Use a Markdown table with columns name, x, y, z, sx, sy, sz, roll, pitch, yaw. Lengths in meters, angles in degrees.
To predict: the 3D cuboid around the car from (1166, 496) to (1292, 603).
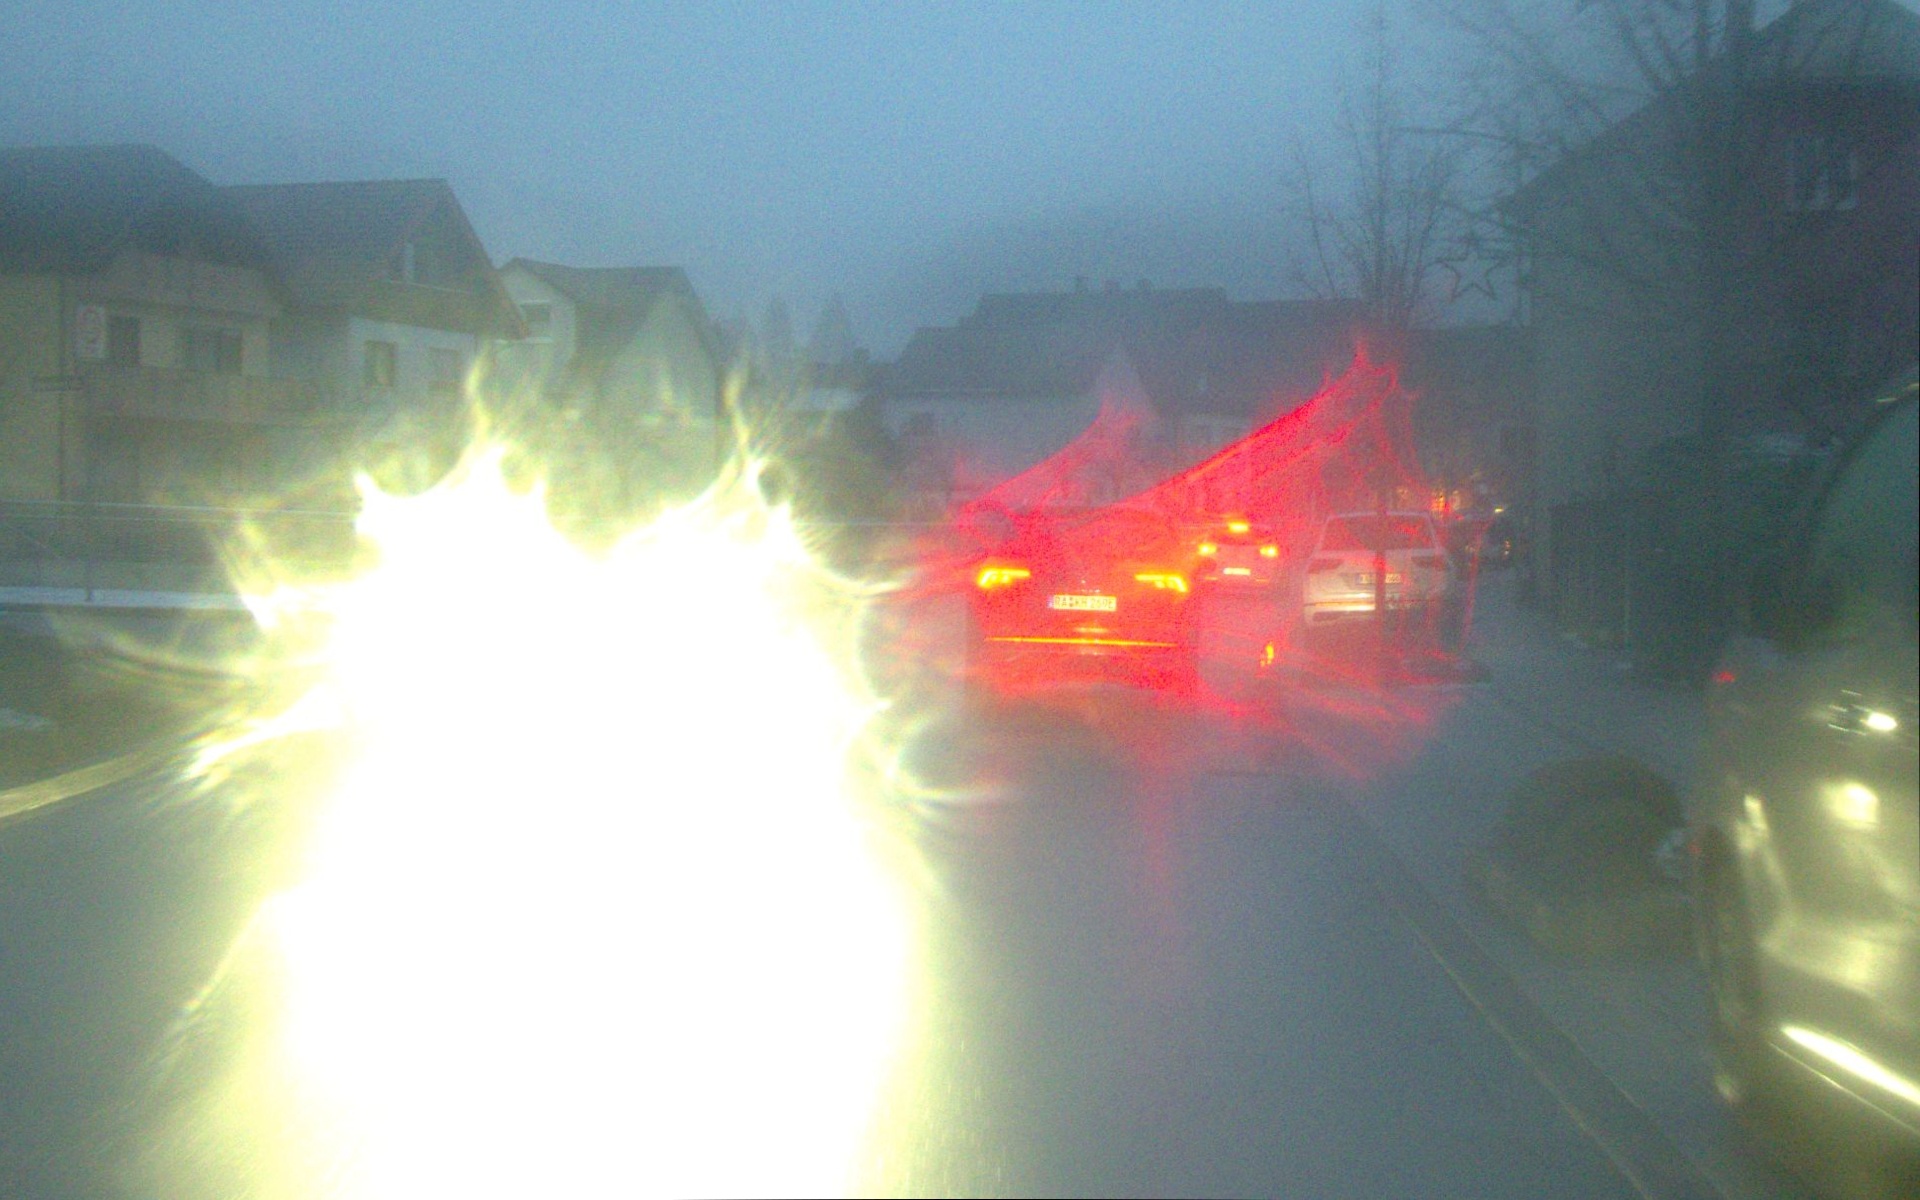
| name | x | y | z | sx | sy | sz | roll | pitch | yaw |
| --- | --- | --- | --- | --- | --- | --- | --- | --- | --- |
| car | 5.355 | -0.977 | 67.979 | 1.994 | 2.007 | 3.998 | 2 | 1 | 11 |

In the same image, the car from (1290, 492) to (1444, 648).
| name | x | y | z | sx | sy | sz | roll | pitch | yaw |
| --- | --- | --- | --- | --- | --- | --- | --- | --- | --- |
| car | 4.994 | -0.414 | 42.012 | 1.745 | 1.779 | 4.335 | -1 | 2 | 7 |

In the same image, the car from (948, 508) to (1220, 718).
| name | x | y | z | sx | sy | sz | roll | pitch | yaw |
| --- | --- | --- | --- | --- | --- | --- | --- | --- | --- |
| car | 0.979 | 0.062 | 27.735 | 1.993 | 1.520 | 4.000 | 2 | 1 | 2 |

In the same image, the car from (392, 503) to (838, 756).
| name | x | y | z | sx | sy | sz | roll | pitch | yaw |
| --- | --- | --- | --- | --- | --- | --- | --- | --- | --- |
| car | -2.154 | 0.118 | 22.846 | 1.907 | 1.483 | 4.567 | 1 | 1 | 8 |

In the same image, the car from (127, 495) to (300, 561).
| name | x | y | z | sx | sy | sz | roll | pitch | yaw |
| --- | --- | --- | --- | --- | --- | --- | --- | --- | --- |
| car | -16.273 | -1.573 | 75.142 | 1.995 | 1.303 | 4.110 | 3 | 2 | 15 |

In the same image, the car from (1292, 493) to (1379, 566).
| name | x | y | z | sx | sy | sz | roll | pitch | yaw |
| --- | --- | --- | --- | --- | --- | --- | --- | --- | --- |
| car | 10.932 | -2.029 | 99.847 | 1.995 | 2.007 | 3.998 | 2 | 1 | 13 |

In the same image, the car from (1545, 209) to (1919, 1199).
| name | x | y | z | sx | sy | sz | roll | pitch | yaw |
| --- | --- | --- | --- | --- | --- | --- | --- | --- | --- |
| car | 2.705 | 0.266 | 6.957 | 1.977 | 2.006 | 5.746 | -1 | 2 | -1 |
